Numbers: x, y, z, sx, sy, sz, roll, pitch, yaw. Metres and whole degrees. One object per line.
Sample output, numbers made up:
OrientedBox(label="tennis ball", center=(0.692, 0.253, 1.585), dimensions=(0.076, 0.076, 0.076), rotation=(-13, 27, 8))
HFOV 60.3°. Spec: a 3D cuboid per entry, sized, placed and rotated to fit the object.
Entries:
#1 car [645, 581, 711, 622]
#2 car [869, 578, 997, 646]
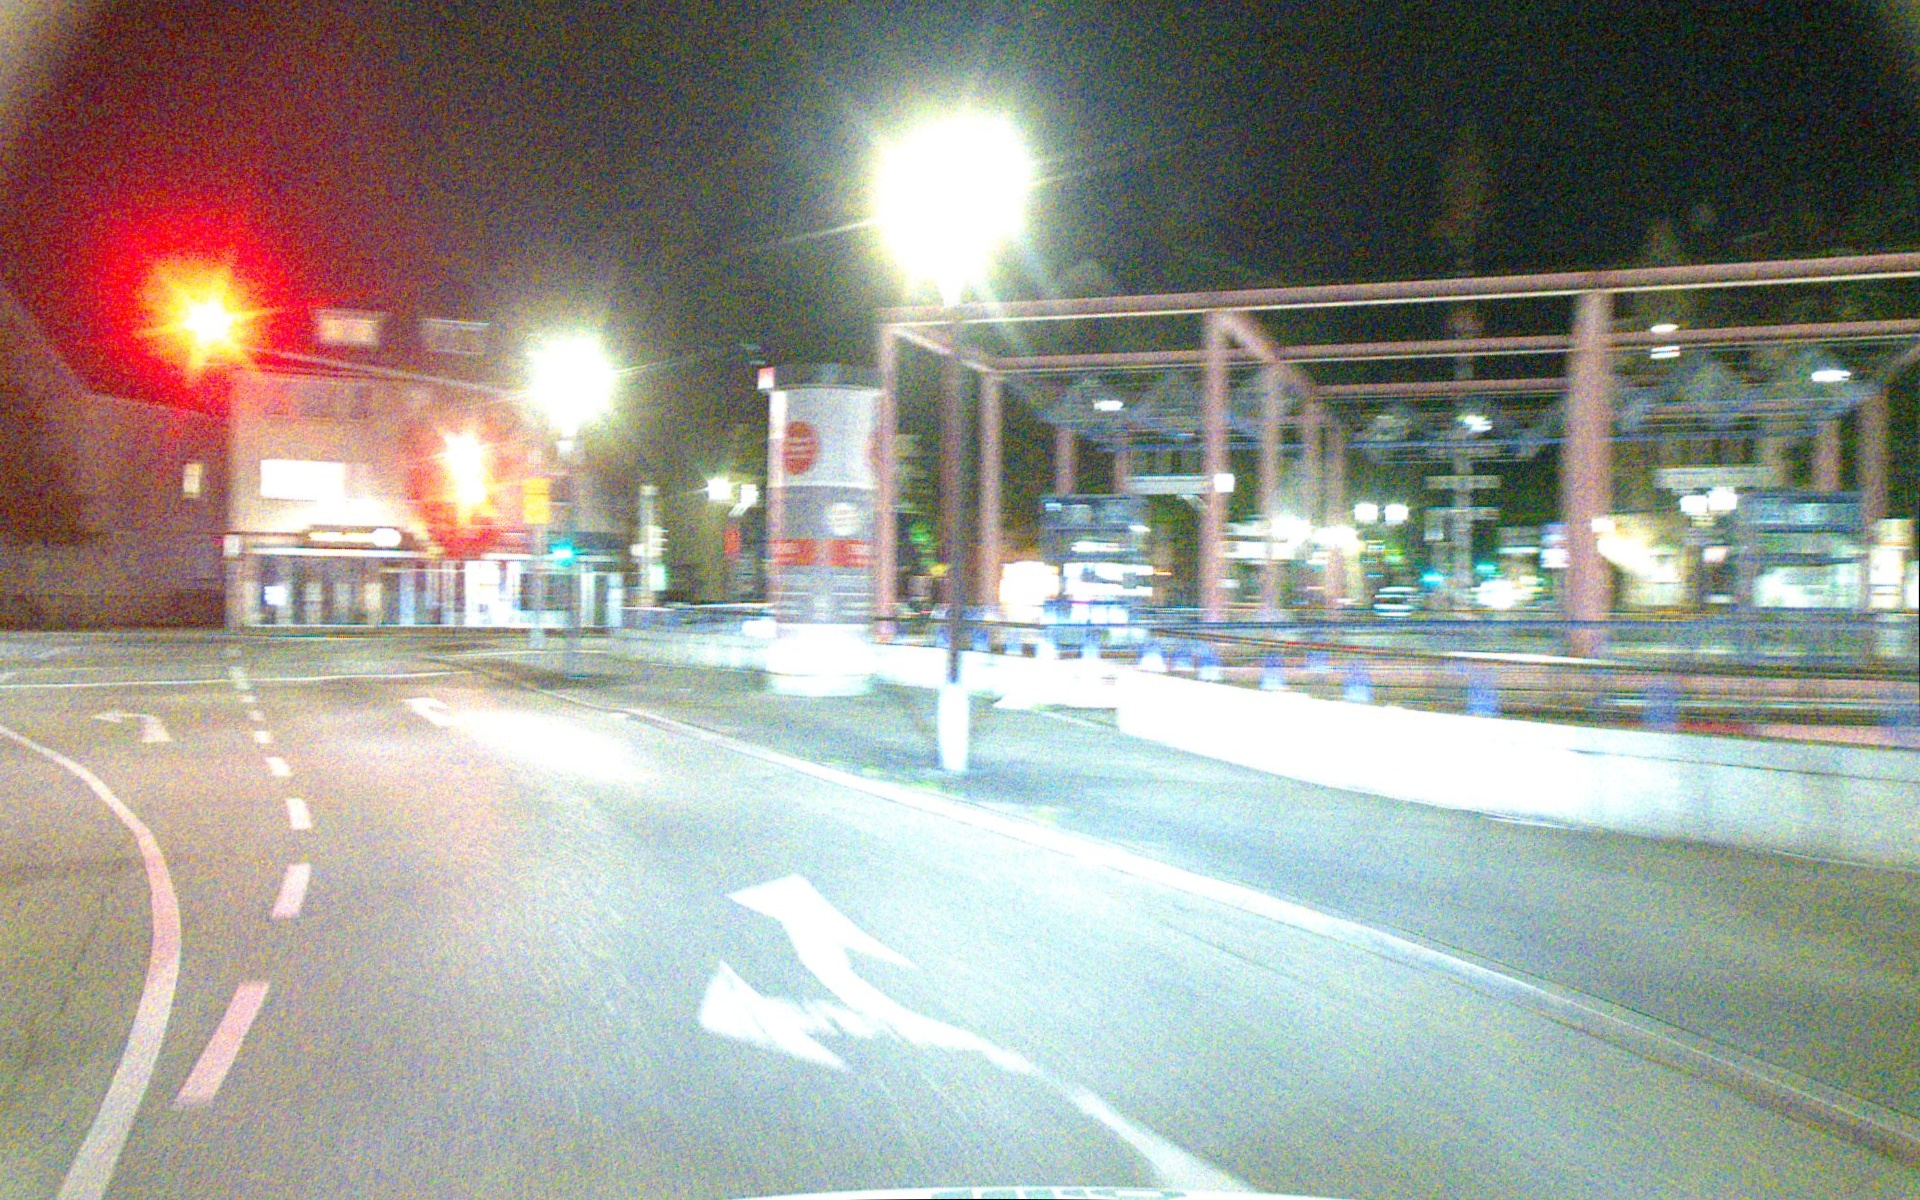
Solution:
OrientedBox(label="car", center=(-11.481, 0.031, 67.163), dimensions=(1.966, 1.601, 3.630), rotation=(0, 0, -22))
OrientedBox(label="car", center=(-0.603, 0.260, 41.150), dimensions=(1.951, 1.601, 4.331), rotation=(0, 0, 17))
